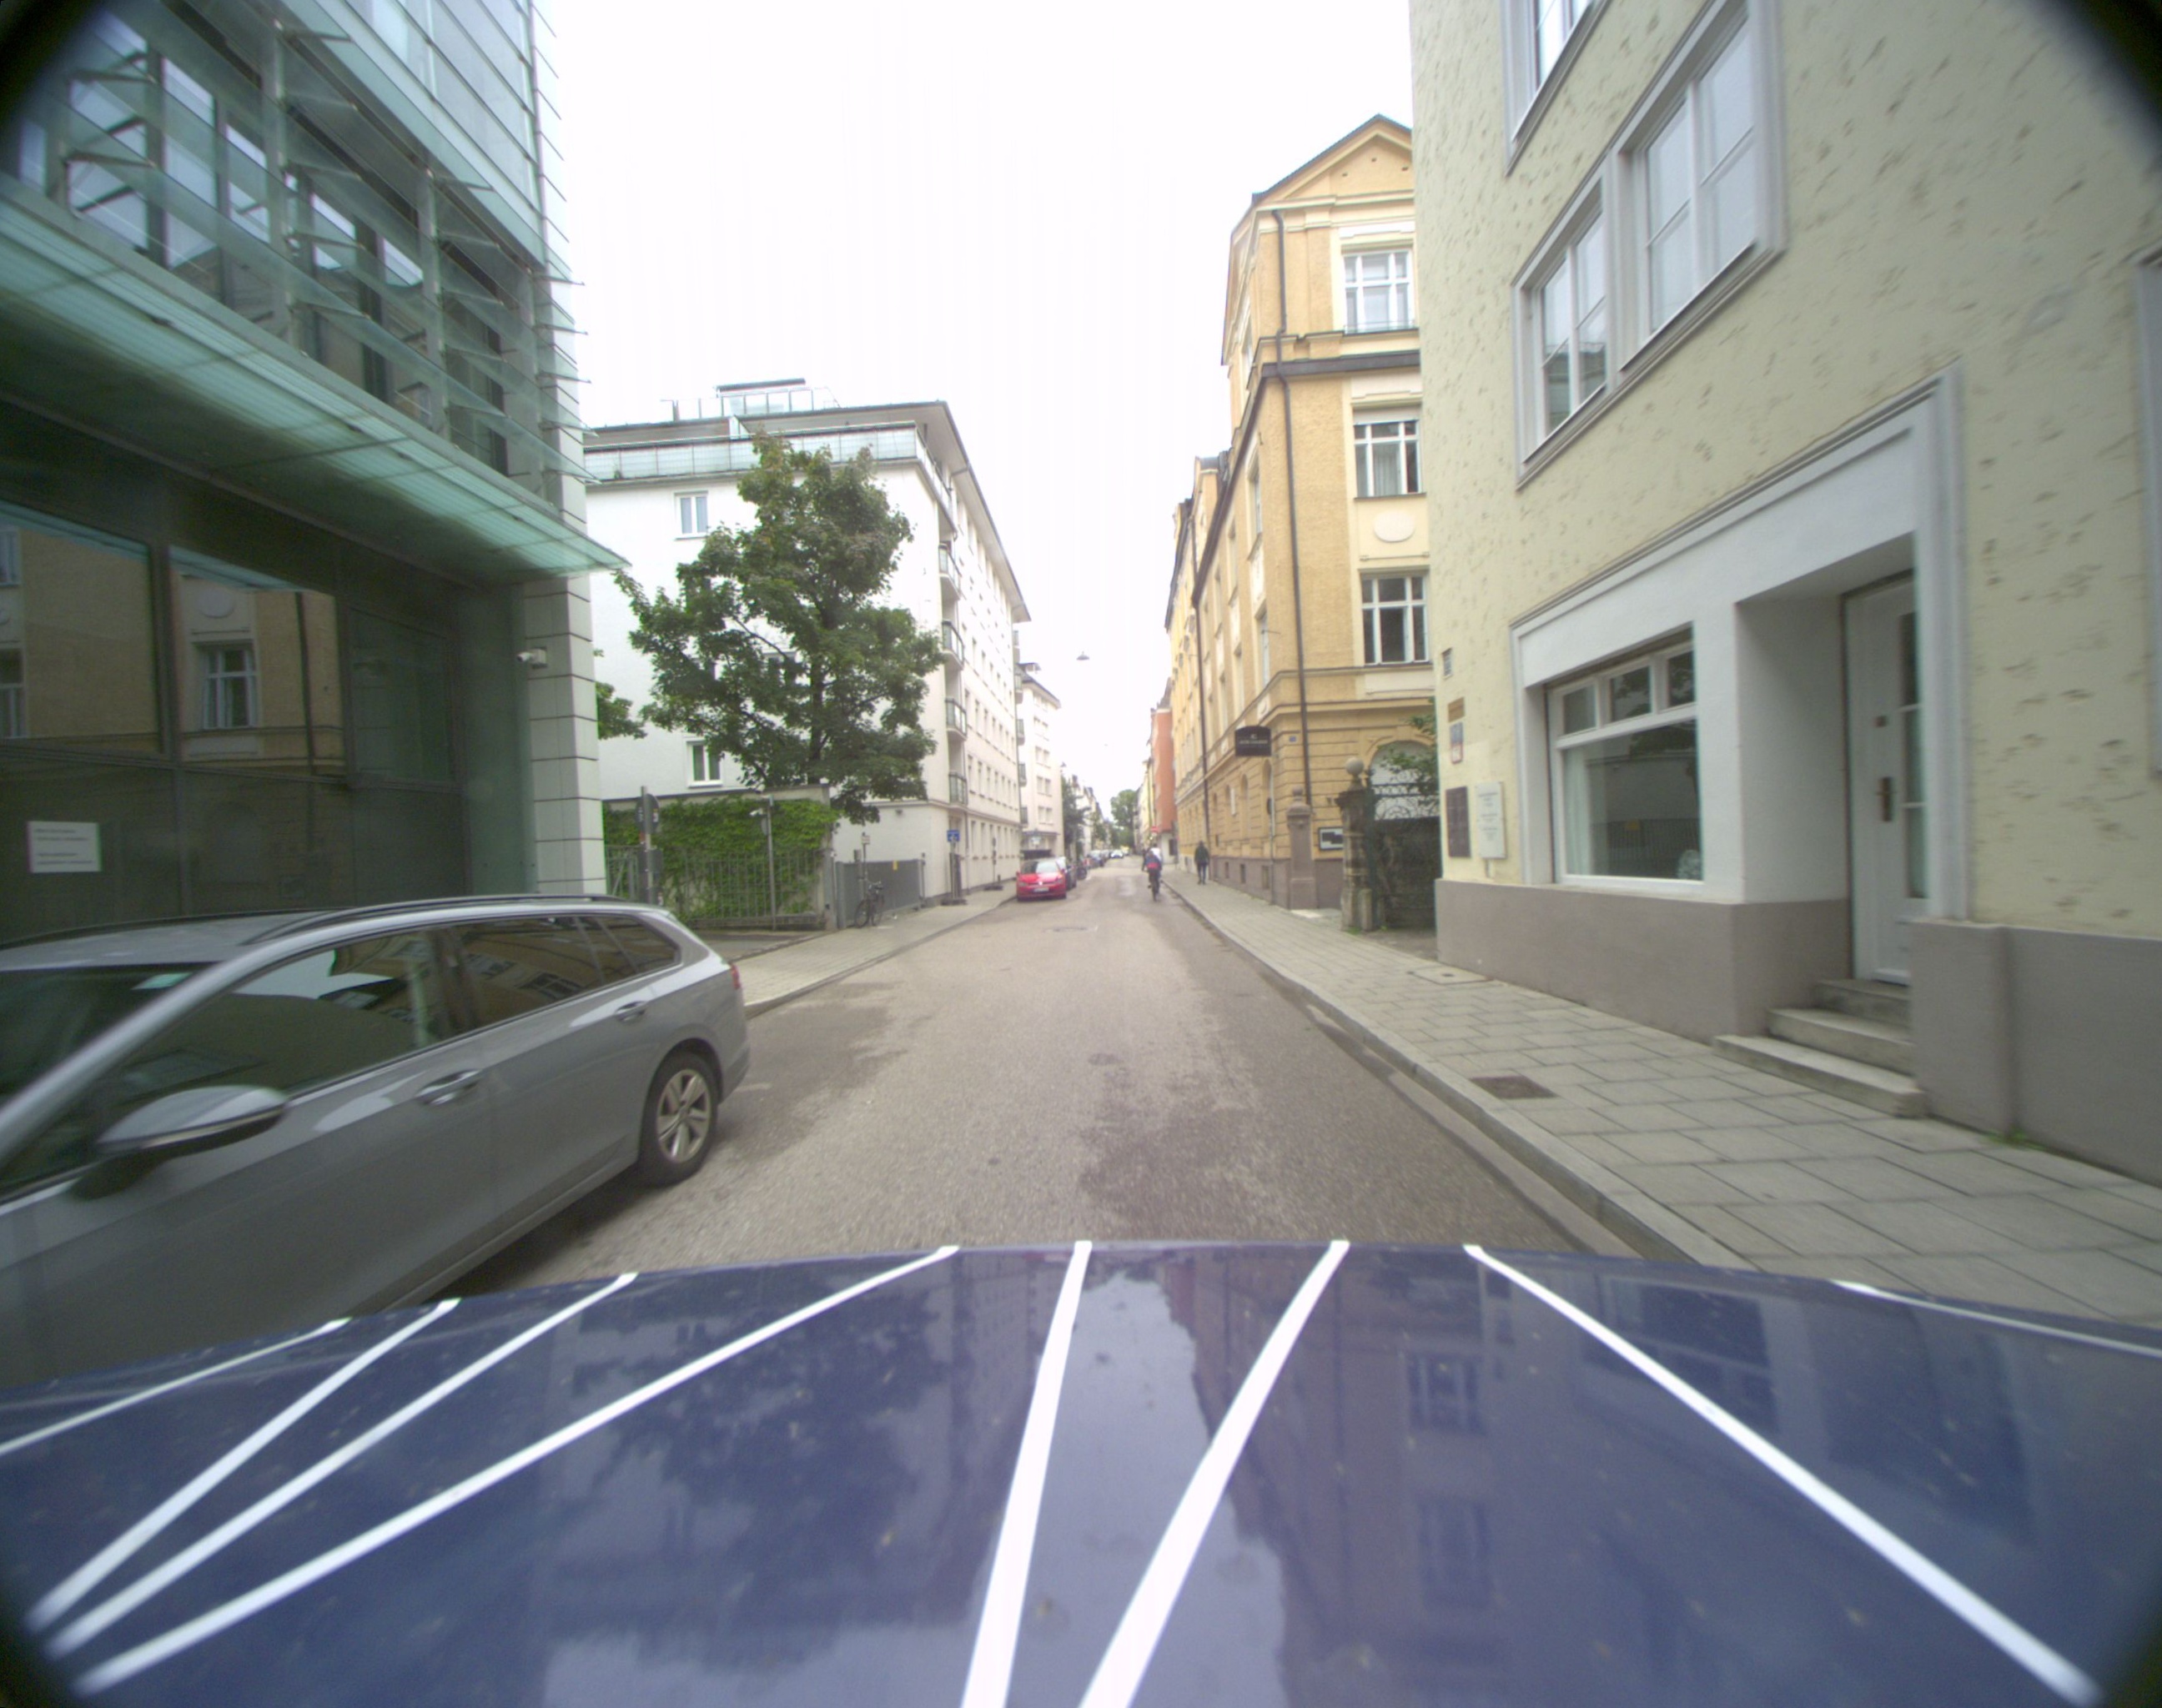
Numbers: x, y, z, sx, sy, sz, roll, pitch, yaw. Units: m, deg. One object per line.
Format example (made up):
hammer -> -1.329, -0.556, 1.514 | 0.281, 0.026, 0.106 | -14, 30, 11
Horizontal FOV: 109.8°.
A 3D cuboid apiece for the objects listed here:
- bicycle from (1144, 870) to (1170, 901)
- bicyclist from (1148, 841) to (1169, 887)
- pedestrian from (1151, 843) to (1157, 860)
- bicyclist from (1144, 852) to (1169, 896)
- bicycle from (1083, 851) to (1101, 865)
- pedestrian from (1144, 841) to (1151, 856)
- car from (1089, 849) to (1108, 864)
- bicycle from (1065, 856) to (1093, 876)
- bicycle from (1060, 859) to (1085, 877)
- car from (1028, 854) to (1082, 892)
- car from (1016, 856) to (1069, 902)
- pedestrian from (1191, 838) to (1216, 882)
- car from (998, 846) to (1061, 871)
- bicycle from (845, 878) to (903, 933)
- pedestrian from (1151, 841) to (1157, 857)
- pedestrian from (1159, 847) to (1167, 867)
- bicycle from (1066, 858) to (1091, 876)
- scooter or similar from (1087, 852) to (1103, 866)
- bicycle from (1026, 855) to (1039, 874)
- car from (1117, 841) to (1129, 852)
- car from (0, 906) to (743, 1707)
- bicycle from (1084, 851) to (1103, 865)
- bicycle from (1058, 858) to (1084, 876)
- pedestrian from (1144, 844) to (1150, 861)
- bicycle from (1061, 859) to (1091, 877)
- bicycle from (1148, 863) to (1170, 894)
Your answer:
bicycle -> 2.434, 0.992, 24.536 | 0.709, 0.900, 1.809 | -2, 1, 3
bicyclist -> 2.808, 0.368, 27.682 | 0.661, 1.633, 0.895 | -2, 1, 3
pedestrian -> 8.734, -0.275, 90.781 | 0.634, 2.002, 0.788 | -1, 1, 4
bicyclist -> 2.419, 0.640, 24.417 | 0.709, 1.363, 0.813 | -2, 1, 3
bicycle -> 0.999, 0.392, 69.035 | 1.607, 1.207, 0.529 | -2, 1, 6
pedestrian -> 7.940, -0.616, 90.918 | 0.725, 1.783, 0.830 | -2, 1, 4
car -> 1.766, 0.215, 74.825 | 1.653, 1.391, 4.000 | -2, 1, 4
bicycle -> -0.110, 0.758, 46.957 | 1.699, 1.154, 0.378 | -2, 1, 2
bicycle -> -0.496, 0.787, 44.053 | 1.438, 1.038, 0.330 | 0, 2, 12
car -> -1.095, 0.797, 33.841 | 1.798, 1.430, 4.384 | -4, 1, 5
car -> -1.428, 0.878, 28.573 | 1.765, 1.438, 4.297 | -4, 1, -2
pedestrian -> 4.815, 0.240, 29.873 | 0.714, 1.656, 0.930 | -5, 1, 3
car -> -4.154, 0.348, 61.351 | 4.675, 1.880, 1.935 | -2, 0, 12
bicycle -> -4.816, 1.175, 17.823 | 0.709, 1.191, 1.835 | -2, -2, 4
pedestrian -> 8.742, -0.596, 90.916 | 0.699, 1.783, 0.763 | -2, 1, 4
pedestrian -> 7.240, 0.263, 66.833 | 0.613, 1.684, 0.566 | -2, 1, 2
bicycle -> -0.156, 0.764, 45.286 | 1.441, 1.038, 0.360 | 0, 2, 12
scooter or similar -> 1.271, 0.411, 67.018 | 1.340, 1.207, 0.344 | -2, 1, 6
bicycle -> -3.214, 0.708, 49.843 | 0.399, 1.198, 1.503 | -1, 1, -21
car -> 7.000, -1.272, 126.353 | 1.929, 1.794, 4.444 | -3, 0, 3
car -> -2.938, 1.074, 2.249 | 1.712, 1.424, 4.329 | -3, 1, 3
bicycle -> 1.140, 0.396, 68.422 | 1.607, 1.207, 0.529 | -2, 1, 6
bicycle -> -0.585, 0.775, 44.973 | 1.519, 1.038, 0.360 | 0, 2, 11
pedestrian -> 7.920, -0.234, 90.958 | 0.634, 2.002, 0.788 | -1, 1, 4
bicycle -> -0.276, 0.787, 43.573 | 1.706, 1.038, 0.360 | 0, 2, 4
bicycle -> 2.834, 0.872, 27.790 | 0.663, 1.033, 2.005 | -2, 1, 3
